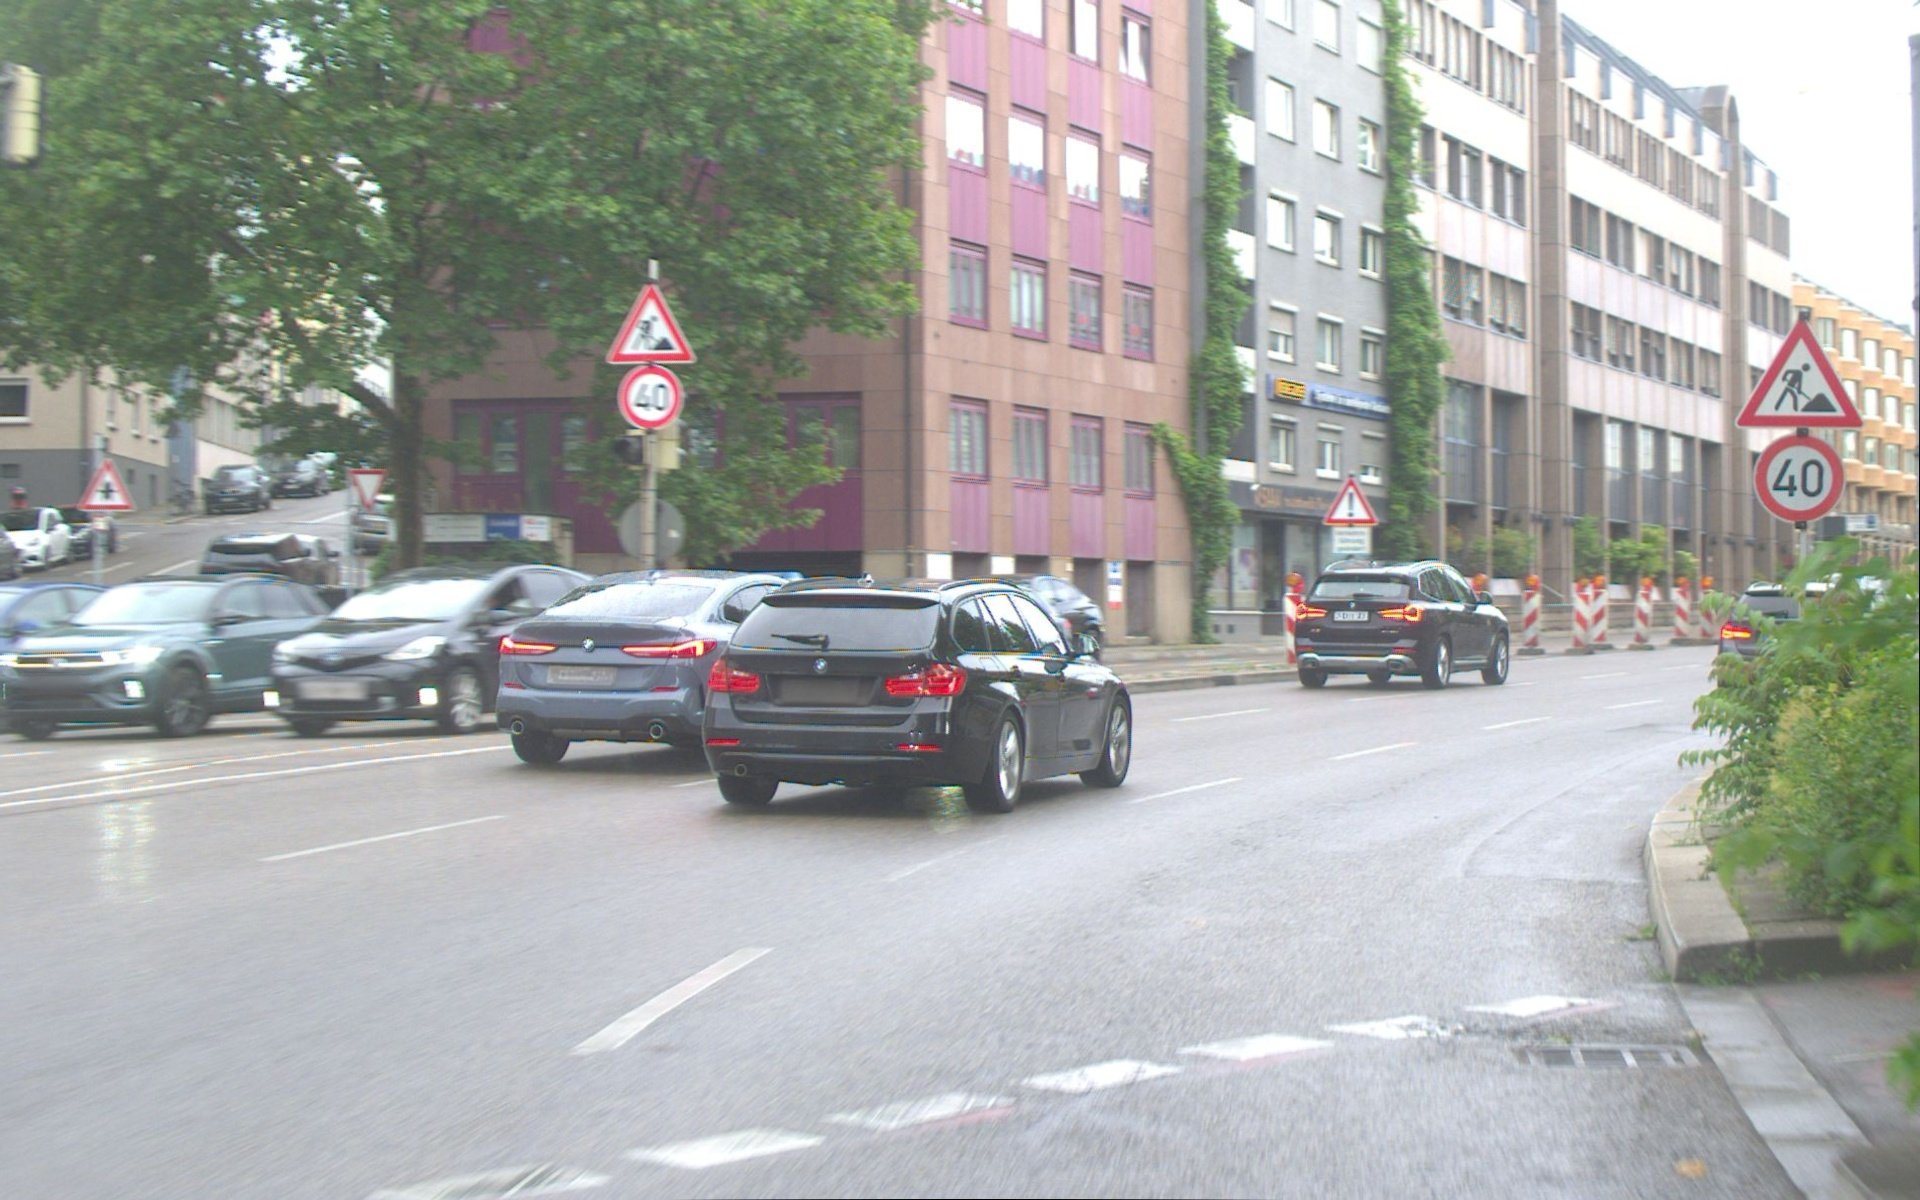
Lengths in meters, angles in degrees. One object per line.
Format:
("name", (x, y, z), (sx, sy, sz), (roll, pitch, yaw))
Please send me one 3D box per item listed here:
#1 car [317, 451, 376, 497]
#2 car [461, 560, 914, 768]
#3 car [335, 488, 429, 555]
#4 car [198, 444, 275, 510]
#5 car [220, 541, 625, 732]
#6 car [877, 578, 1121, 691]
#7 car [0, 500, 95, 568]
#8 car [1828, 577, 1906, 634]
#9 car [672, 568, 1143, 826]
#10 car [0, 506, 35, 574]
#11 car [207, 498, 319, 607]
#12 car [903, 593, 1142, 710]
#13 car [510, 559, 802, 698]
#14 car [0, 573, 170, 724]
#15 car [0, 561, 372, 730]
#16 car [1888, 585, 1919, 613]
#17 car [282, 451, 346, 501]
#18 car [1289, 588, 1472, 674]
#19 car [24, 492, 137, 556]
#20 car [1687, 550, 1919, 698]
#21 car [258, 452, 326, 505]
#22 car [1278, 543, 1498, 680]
("car", (-25.875, -5.335, 145.065), (1.993, 1.836, 4.001), (-1, 4, -4))
("car", (-1.935, 0.455, 25.908), (1.792, 1.422, 4.380), (-1, -1, 19))
("car", (-15.498, -2.126, 92.341), (1.930, 1.668, 4.001), (-1, 3, -2))
("car", (-24.198, -4.090, 115.123), (1.993, 2.007, 4.000), (-1, -1, -4))
("car", (-4.962, 0.317, 32.455), (1.855, 1.617, 4.588), (-2, 0, 18))
("car", (0.568, 0.444, 45.351), (1.768, 1.412, 4.078), (-1, -1, 23))
("car", (-22.922, -1.648, 85.005), (1.833, 1.426, 4.071), (-1, 4, 3))
("car", (32.686, 0.212, 123.843), (1.996, 1.984, 5.283), (-1, -1, 23))
("car", (-0.202, 0.530, 22.067), (1.792, 1.421, 4.610), (1, 1, 15))
("car", (-23.044, -1.359, 80.071), (1.833, 1.426, 4.071), (-1, 4, 0))
("car", (-13.943, -0.977, 68.967), (1.930, 1.861, 4.002), (1, 5, -8))
("car", (1.034, 0.767, 53.345), (1.996, 1.672, 4.931), (-2, 0, 23))
("car", (-3.841, 0.361, 44.219), (1.768, 1.676, 4.585), (-1, -1, 23))
("car", (-10.072, 0.503, 35.418), (1.764, 1.507, 4.117), (-1, -1, 21))
("car", (-7.545, 0.425, 33.087), (1.819, 1.507, 4.228), (-1, -1, 21))
("car", (55.772, -0.061, 201.398), (1.996, 1.614, 4.312), (-1, -1, 24))
("car", (-25.387, -4.908, 135.215), (1.993, 1.836, 4.001), (-1, 4, -4))
("car", (7.645, 0.539, 62.100), (1.996, 1.433, 4.931), (-2, 0, 23))
("car", (-22.901, -1.997, 89.664), (1.833, 1.426, 4.071), (-1, 4, 0))
("car", (10.202, 0.286, 41.418), (1.902, 1.688, 3.994), (-1, -1, 26))
("car", (-25.020, -4.566, 128.892), (1.993, 1.836, 4.001), (-1, 4, -4))
("car", (5.662, 0.156, 45.062), (1.902, 1.688, 3.995), (-1, -1, 22))
